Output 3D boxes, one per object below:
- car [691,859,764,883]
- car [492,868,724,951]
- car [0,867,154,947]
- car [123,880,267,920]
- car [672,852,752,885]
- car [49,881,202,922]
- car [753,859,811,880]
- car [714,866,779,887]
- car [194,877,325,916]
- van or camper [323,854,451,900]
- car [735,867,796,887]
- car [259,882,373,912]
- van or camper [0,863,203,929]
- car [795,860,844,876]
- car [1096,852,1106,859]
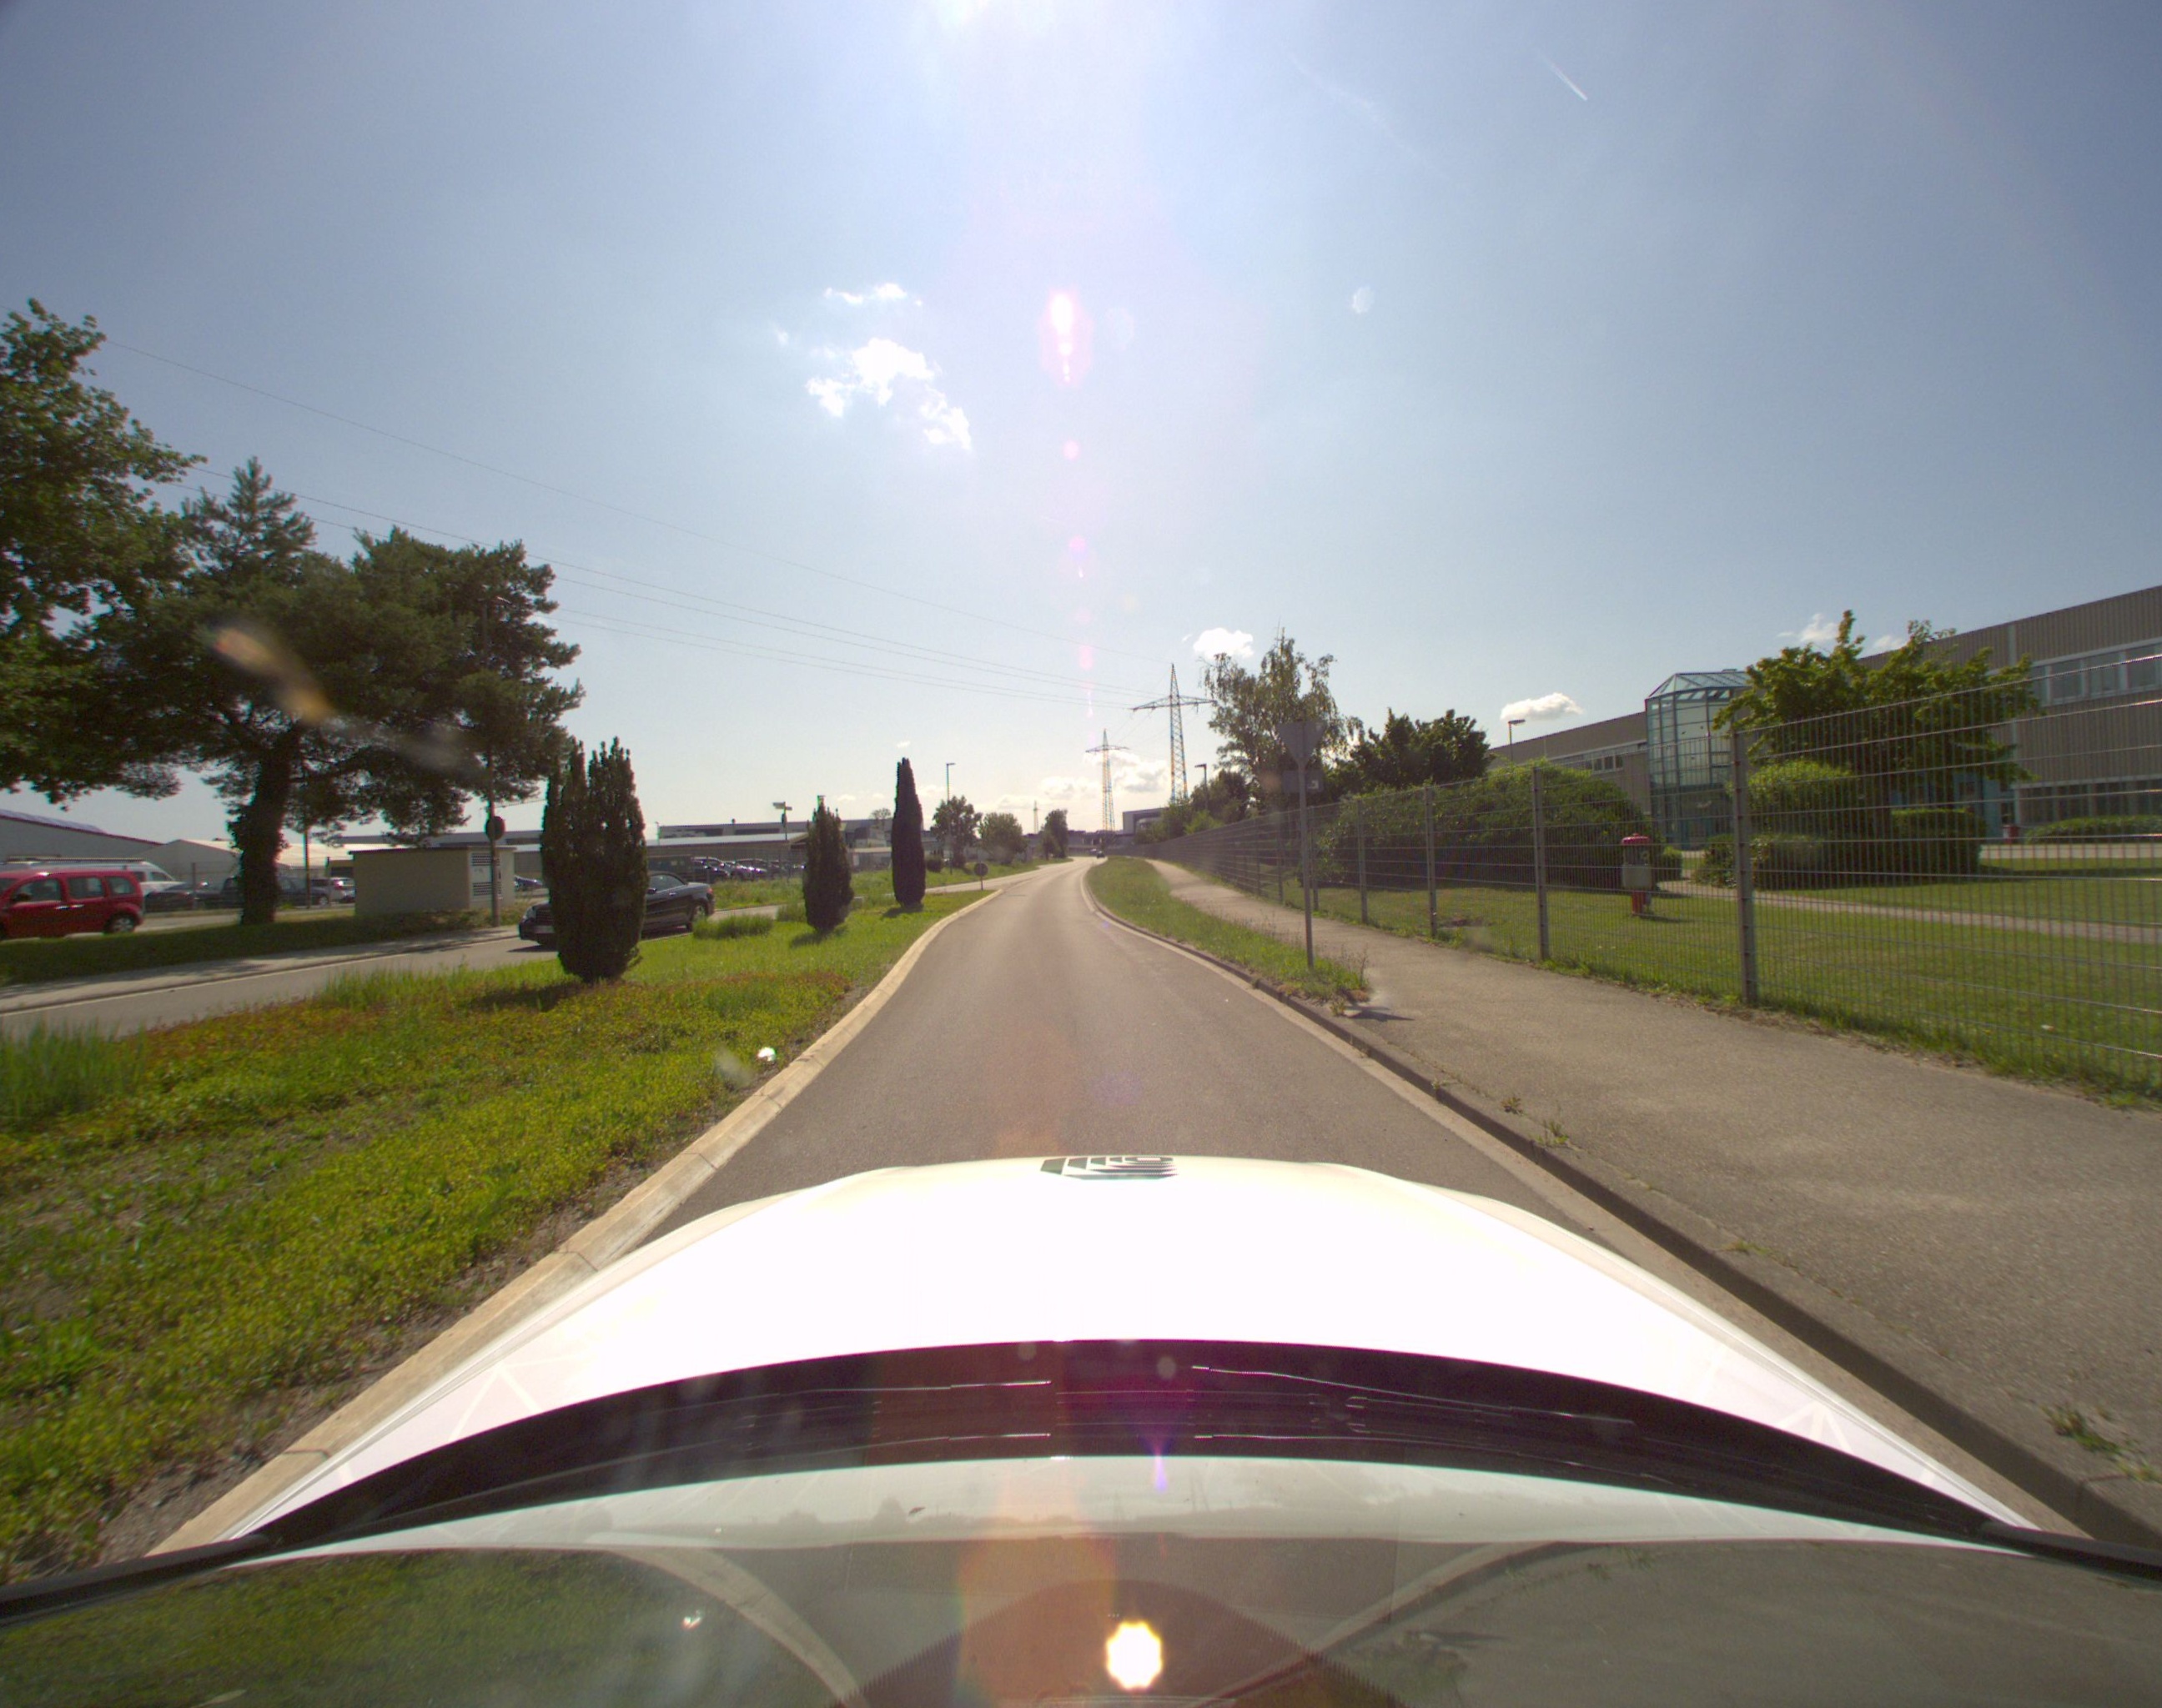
[{"bbox_3d":[-22.223,1.067,51.235,4.013,1.310,1.924,-3,0,-31],"label":"car"},{"bbox_3d":[-9.961,1.089,17.732,1.891,1.394,4.870,-3,0,4],"label":"car"},{"bbox_3d":[-25.275,1.254,19.225,1.989,1.744,4.224,-3,0,-3],"label":"car"},{"bbox_3d":[-38.540,1.963,35.596,1.914,1.433,3.998,-2,0,-1],"label":"car"},{"bbox_3d":[-21.847,0.844,48.208,4.122,1.704,1.706,-3,0,-31],"label":"car"},{"bbox_3d":[-41.340,2.014,35.402,1.914,1.433,3.998,-2,0,-1],"label":"car"},{"bbox_3d":[-23.765,1.214,64.724,4.013,1.540,1.924,-2,0,-31],"label":"car"},{"bbox_3d":[-23.675,1.586,57.627,4.013,1.310,1.924,-2,0,-31],"label":"car"},{"bbox_3d":[-35.868,1.804,35.723,1.918,1.433,3.990,-2,0,-7],"label":"car"},{"bbox_3d":[-40.135,1.291,47.285,5.358,2.375,1.876,-2,0,-31],"label":"van or camper"},{"bbox_3d":[-23.606,1.719,61.031,4.011,1.310,1.924,-2,0,-29],"label":"car"},{"bbox_3d":[-40.012,2.234,42.659,3.974,1.310,2.000,-2,0,0],"label":"car"},{"bbox_3d":[-44.377,1.767,36.853,1.988,2.599,6.766,-2,0,-1],"label":"van or camper"},{"bbox_3d":[-24.010,1.257,74.773,4.013,1.310,1.924,-2,0,-31],"label":"car"},{"bbox_3d":[4.537,0.296,183.930,2.006,1.508,3.999,-3,0,0],"label":"car"}]
